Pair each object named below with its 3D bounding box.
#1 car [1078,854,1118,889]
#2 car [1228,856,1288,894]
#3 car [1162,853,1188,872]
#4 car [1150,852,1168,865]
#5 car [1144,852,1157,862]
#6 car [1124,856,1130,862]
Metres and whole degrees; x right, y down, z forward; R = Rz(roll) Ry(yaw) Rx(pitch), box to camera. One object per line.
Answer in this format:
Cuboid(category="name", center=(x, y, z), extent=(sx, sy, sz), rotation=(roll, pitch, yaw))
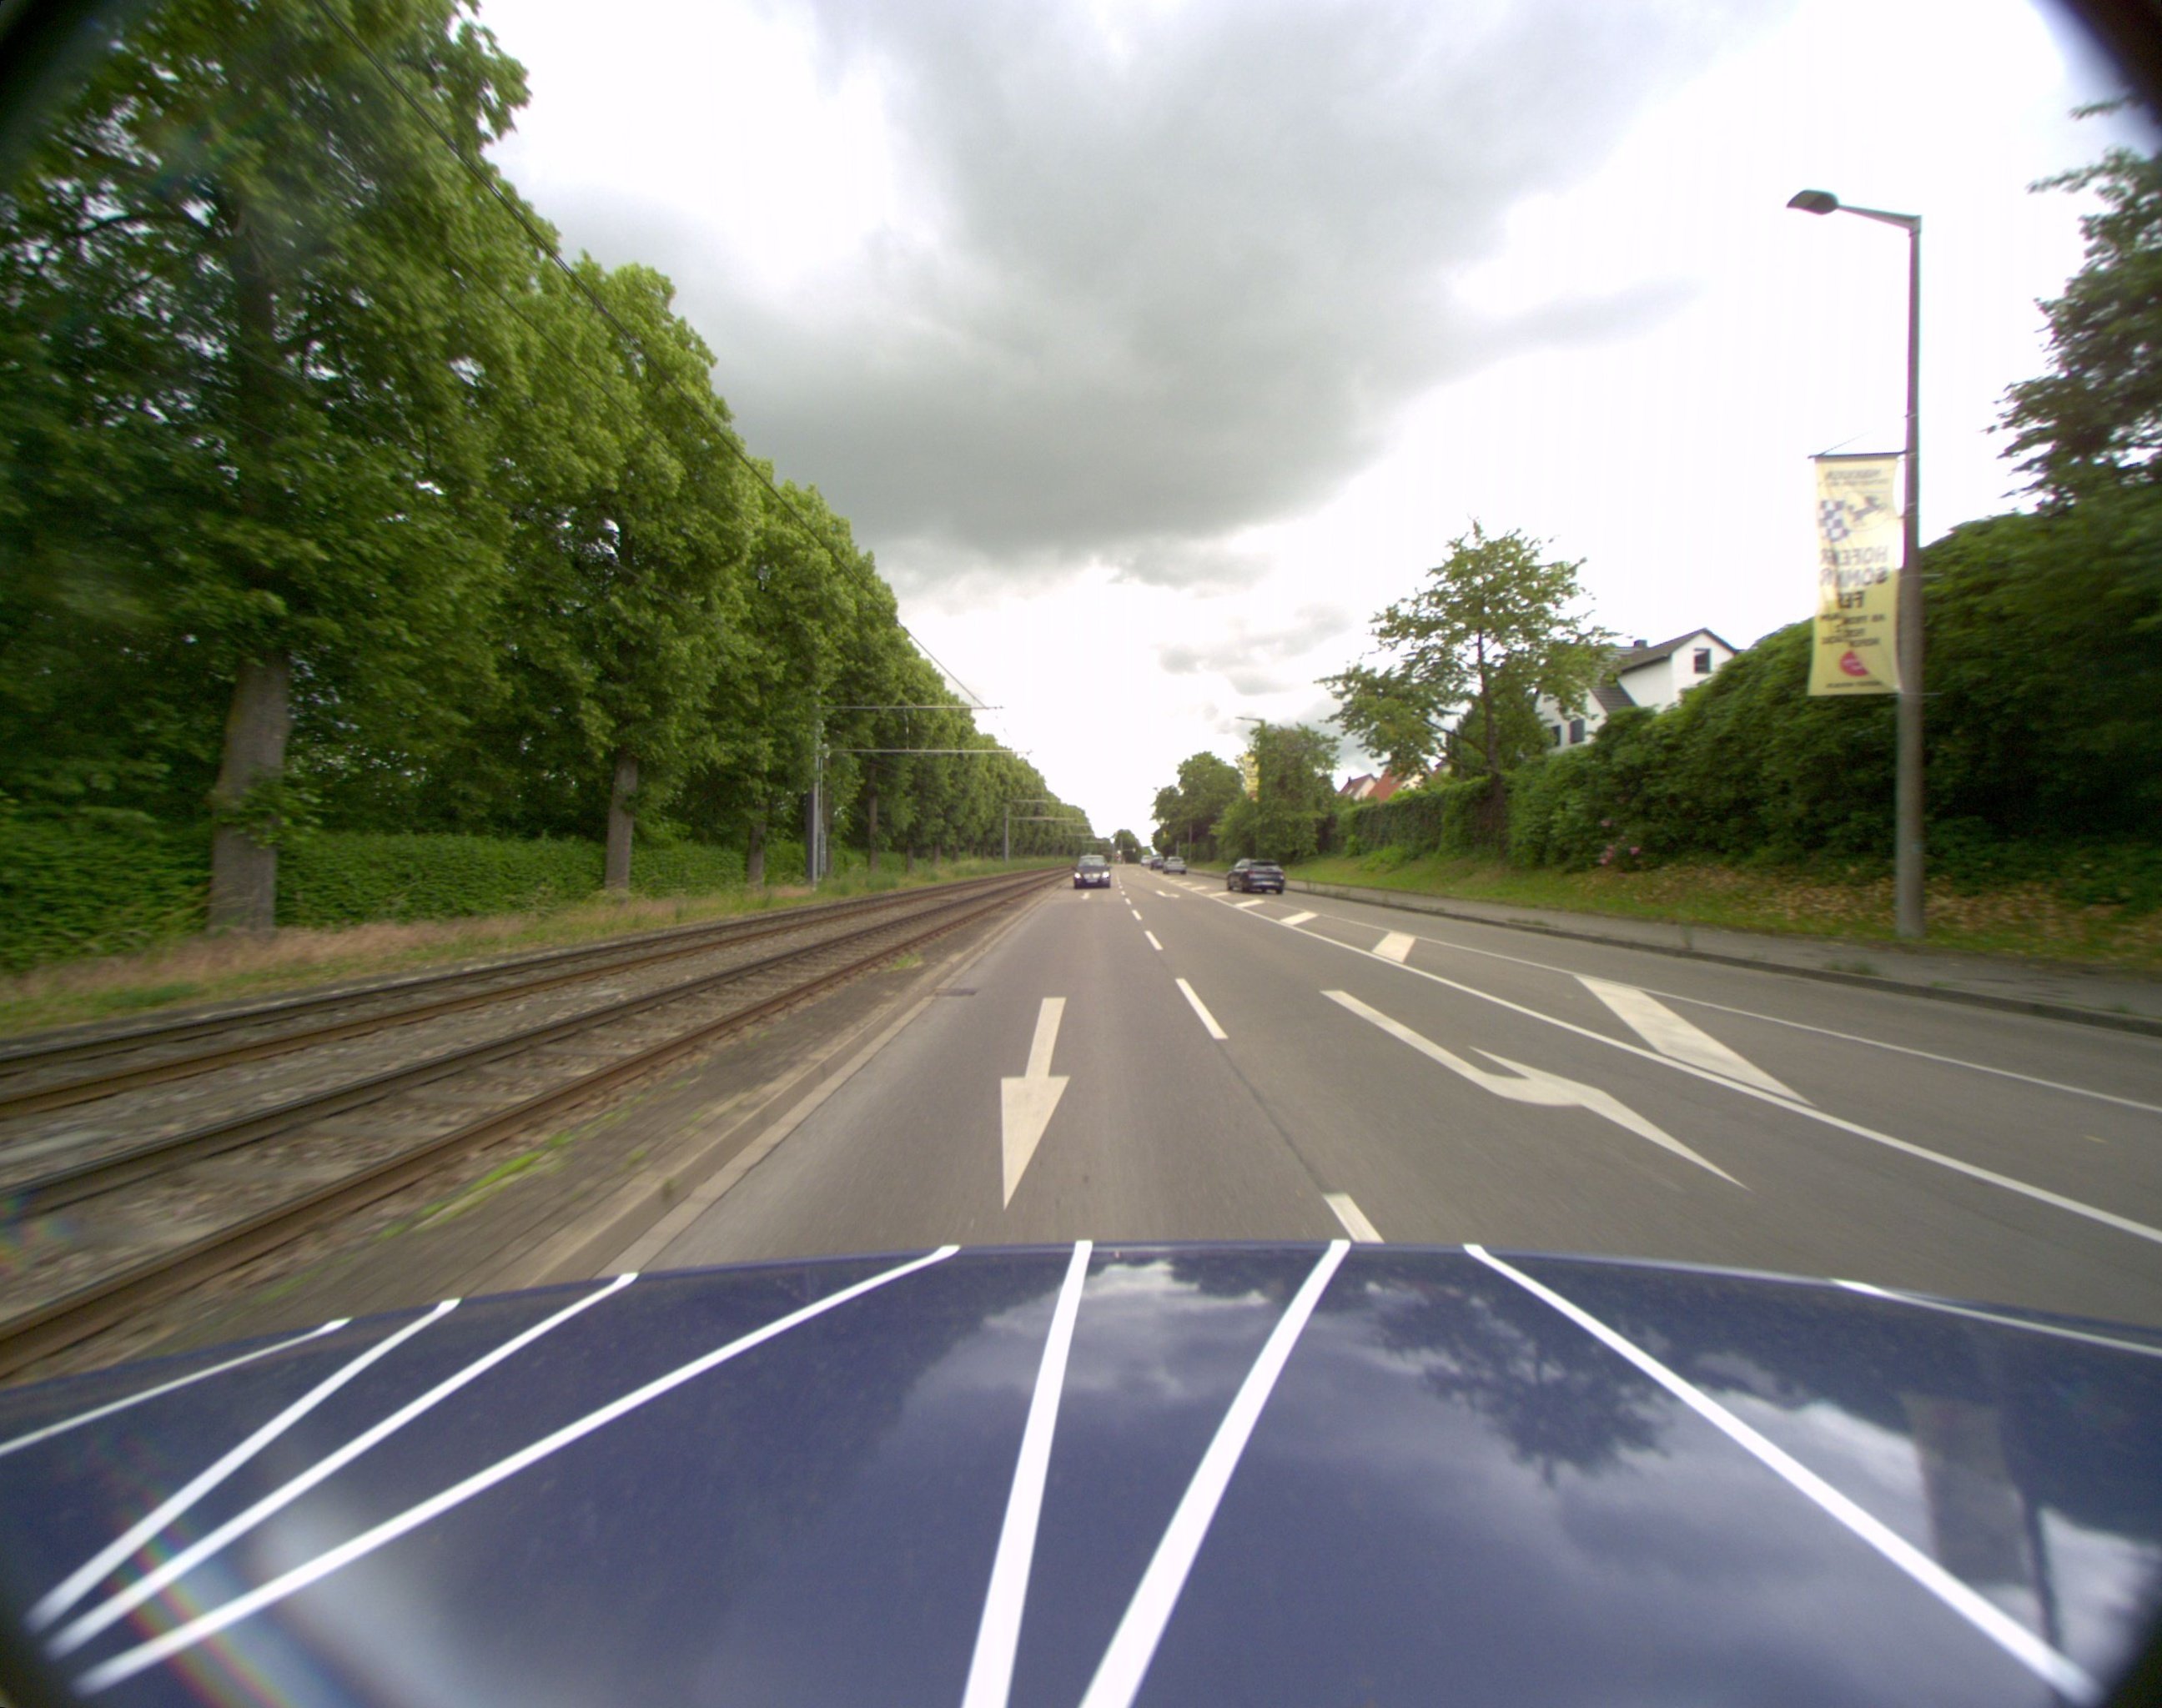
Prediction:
Cuboid(category="car", center=(0.818, 0.810, 36.801), extent=(1.808, 1.520, 3.928), rotation=(-2, 1, 1))
Cuboid(category="car", center=(7.473, 0.844, 32.426), extent=(1.658, 1.414, 4.008), rotation=(2, 1, 1))
Cuboid(category="car", center=(8.310, 0.733, 67.323), extent=(1.808, 1.520, 3.928), rotation=(-2, 1, 1))
Cuboid(category="car", center=(9.038, 0.528, 87.876), extent=(1.653, 1.418, 3.928), rotation=(-2, 1, 1))
Cuboid(category="car", center=(10.917, 0.442, 119.175), extent=(1.745, 1.453, 3.839), rotation=(-2, 1, 1))
Cuboid(category="car", center=(14.267, 1.451, 235.488), extent=(1.808, 1.778, 3.928), rotation=(-2, 1, 1))
